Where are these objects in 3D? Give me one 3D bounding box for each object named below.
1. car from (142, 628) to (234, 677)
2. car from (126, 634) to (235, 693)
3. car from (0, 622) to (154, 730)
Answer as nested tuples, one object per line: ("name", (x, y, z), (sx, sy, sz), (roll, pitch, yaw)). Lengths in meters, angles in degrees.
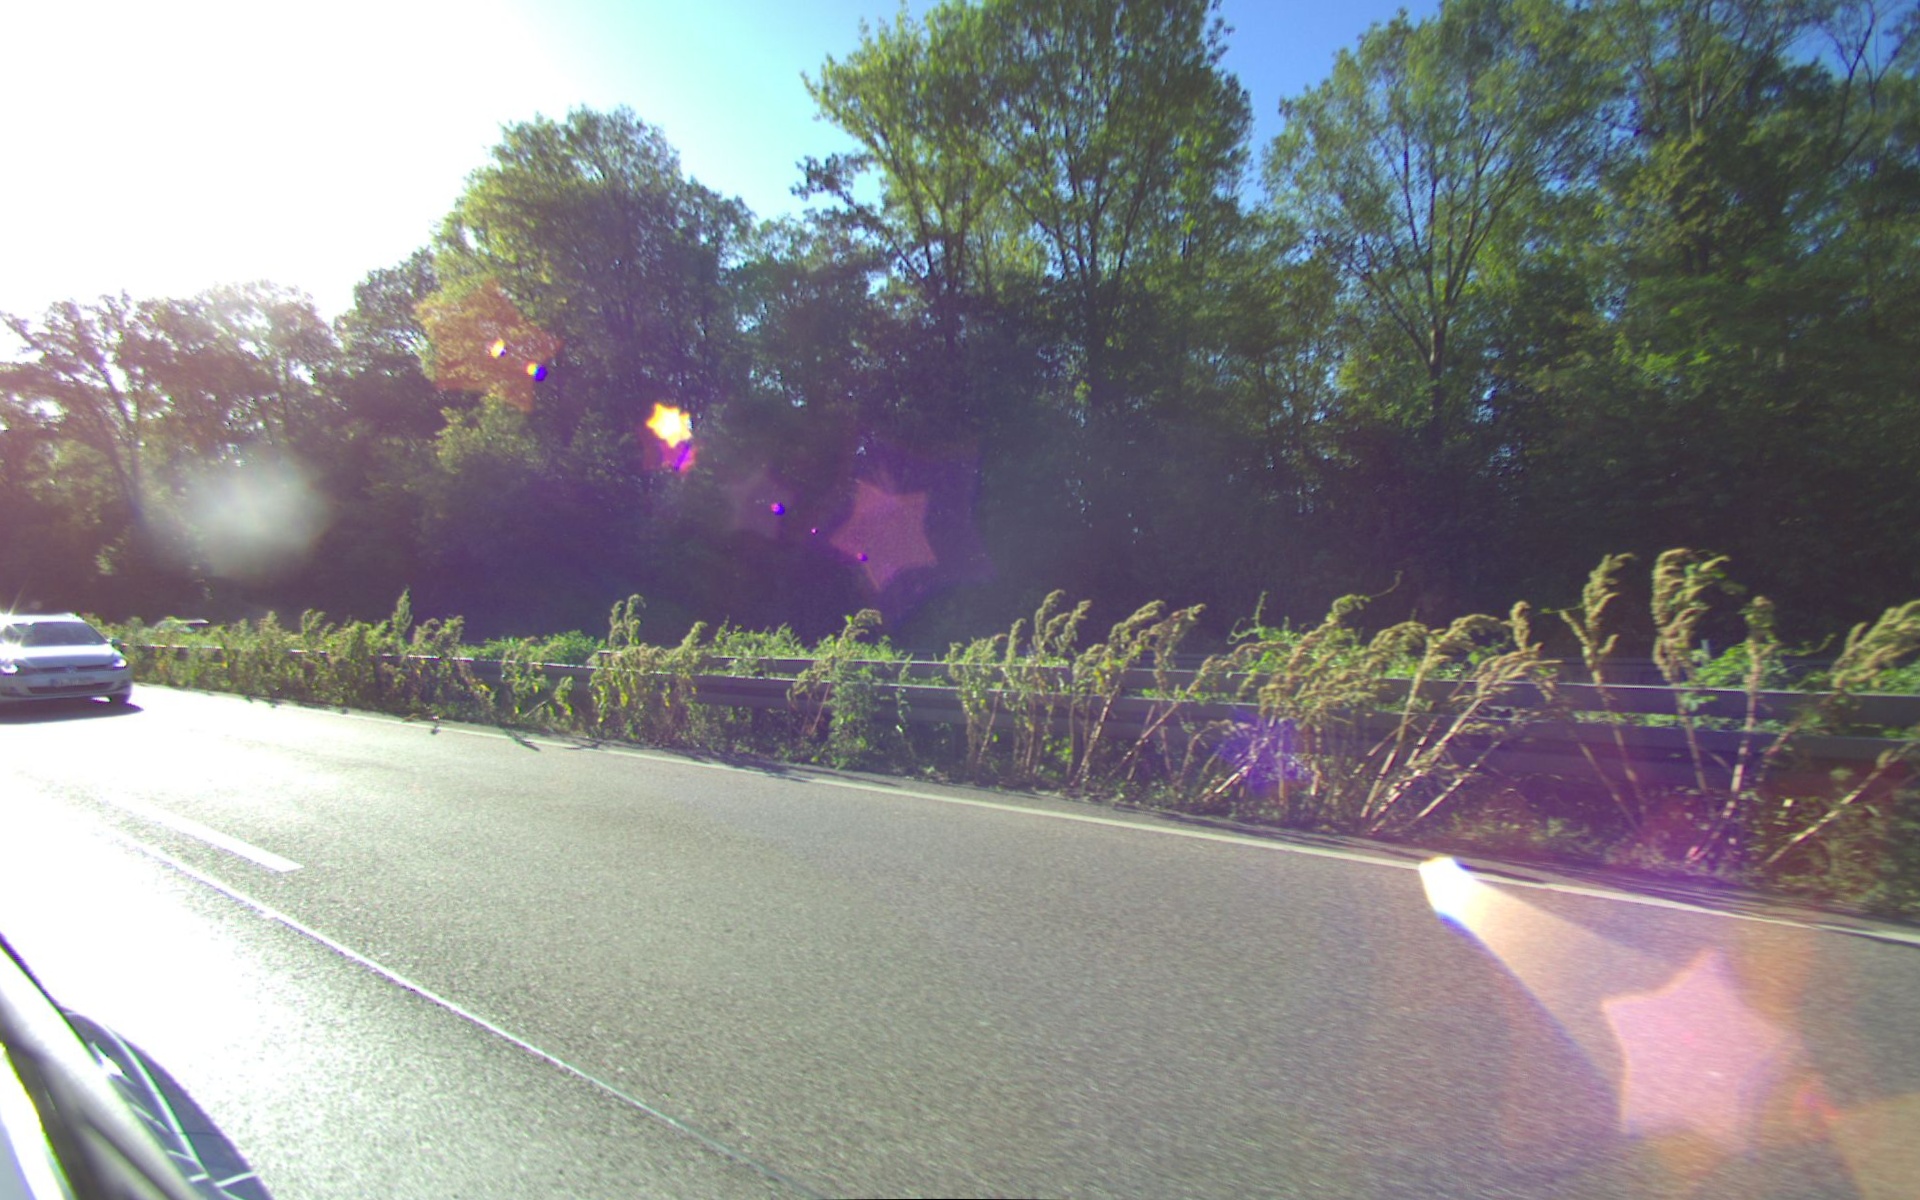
("car", (-35.501, 2.348, 46.505), (4.750, 2.029, 2.030), (-1, 0, 35))
("car", (-28.958, 2.306, 37.571), (4.526, 2.029, 2.065), (-2, -2, 37))
("car", (-15.615, 1.183, 17.013), (5.589, 1.519, 1.911), (-2, -1, 37))
